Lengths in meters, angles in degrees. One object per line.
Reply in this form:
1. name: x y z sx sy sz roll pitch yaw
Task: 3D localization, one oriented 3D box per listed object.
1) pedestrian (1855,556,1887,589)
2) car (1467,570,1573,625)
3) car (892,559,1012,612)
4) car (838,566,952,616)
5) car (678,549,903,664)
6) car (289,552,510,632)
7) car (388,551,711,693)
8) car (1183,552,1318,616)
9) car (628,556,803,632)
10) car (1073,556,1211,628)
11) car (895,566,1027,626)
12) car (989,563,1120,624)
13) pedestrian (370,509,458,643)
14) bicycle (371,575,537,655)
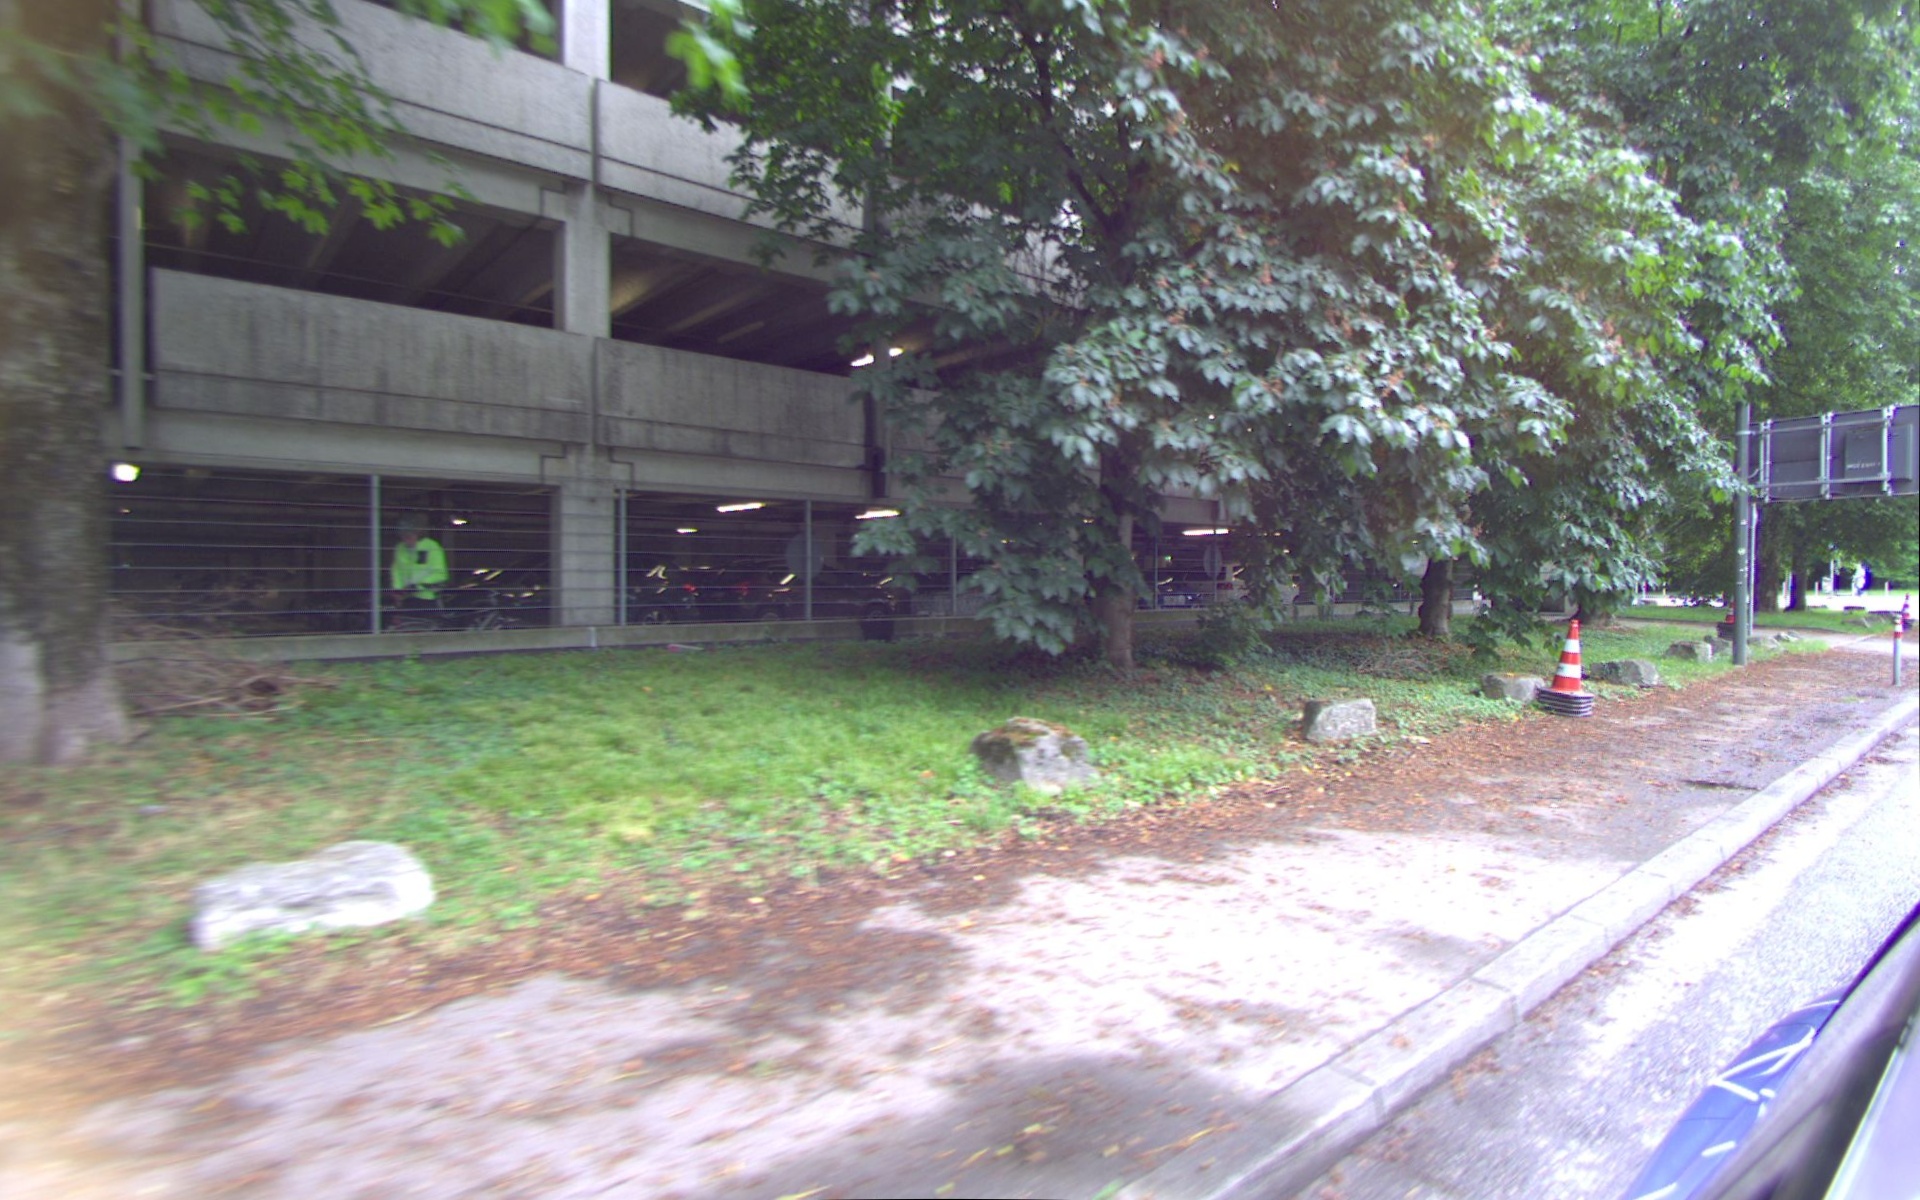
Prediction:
1. pedestrian: 51.797 -1.565 57.530 0.911 1.856 1.201 -3 2 -37
2. car: 20.475 -0.125 36.904 4.654 1.857 1.922 -1 1 -41
3. car: -0.225 -0.496 32.828 3.640 1.565 1.718 -3 2 -42
4. car: -2.218 -0.337 34.989 3.638 1.565 1.719 -3 2 -41
5. car: -3.329 0.056 20.208 3.930 2.038 1.997 -3 2 -40
6. car: -12.259 -0.221 22.267 3.935 1.587 1.718 -3 2 -42
7. car: -6.779 0.243 17.013 4.595 2.038 1.996 -3 2 -41
8. car: 8.706 -0.511 30.131 4.588 1.729 1.588 -3 2 -41
9. car: -5.740 -0.191 23.977 3.640 1.627 1.718 -3 2 -42
10. car: 4.890 -0.250 26.938 3.791 1.729 1.588 -3 2 -41
11. car: 0.064 -0.150 29.680 3.640 1.565 1.718 -3 2 -42
12. car: 2.754 -0.214 28.944 3.640 1.565 1.718 -3 2 -42
13. pedestrian: -5.691 -0.253 10.583 0.623 1.334 0.644 -2 1 -13
14. bicycle: -5.234 0.132 10.530 0.446 0.745 1.474 -1 2 41
